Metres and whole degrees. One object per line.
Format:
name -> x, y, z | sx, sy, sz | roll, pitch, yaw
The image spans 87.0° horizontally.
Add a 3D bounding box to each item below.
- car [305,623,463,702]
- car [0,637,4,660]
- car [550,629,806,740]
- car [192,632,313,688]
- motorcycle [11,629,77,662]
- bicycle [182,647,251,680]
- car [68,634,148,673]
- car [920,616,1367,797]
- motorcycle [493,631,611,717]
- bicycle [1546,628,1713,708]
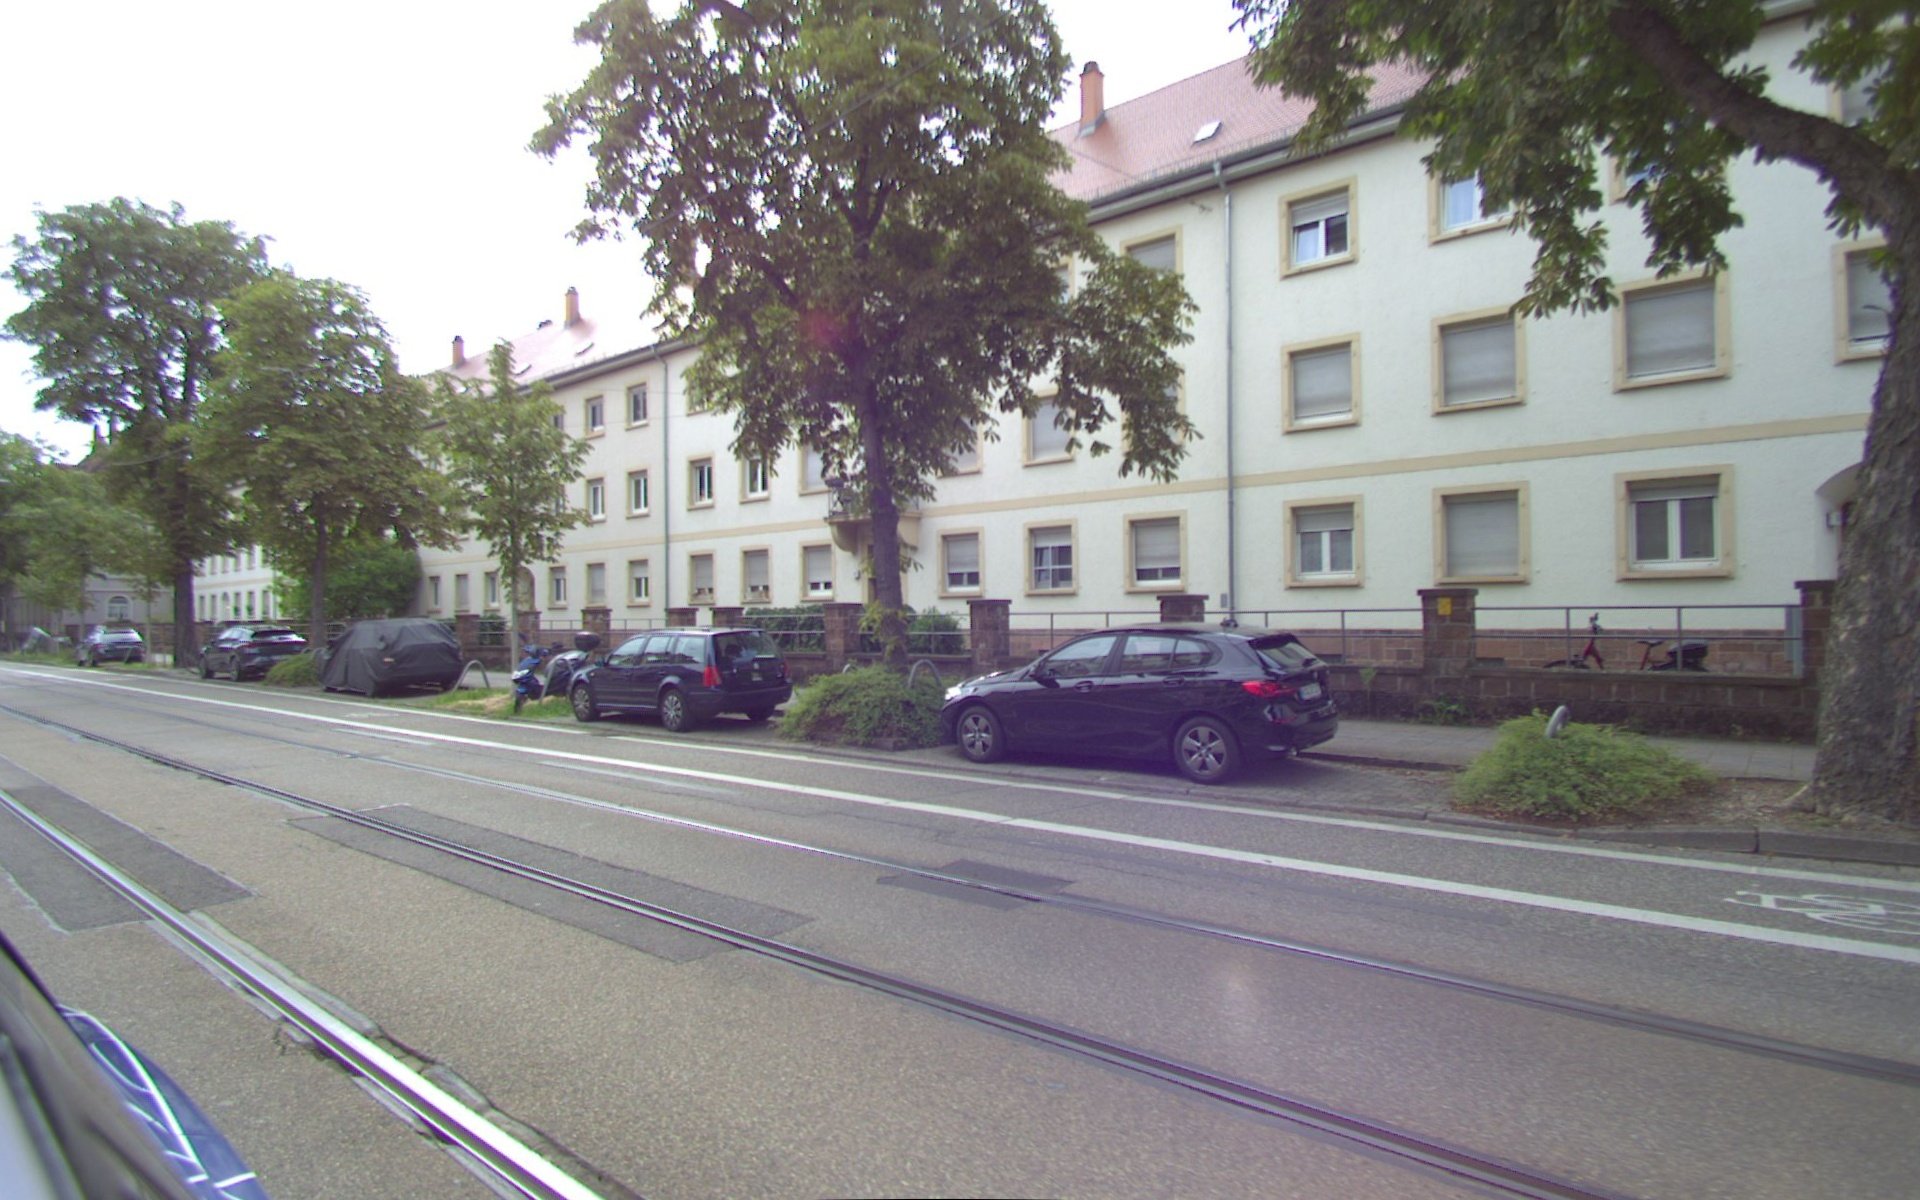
car -> -13.191, 1.359, 23.083 | 4.296, 1.624, 1.767 | -2, -2, 40
car -> -63.554, 3.139, 65.603 | 4.294, 1.481, 1.711 | -2, -2, 38
car -> -4.460, 1.205, 15.675 | 4.296, 1.434, 1.679 | -2, 0, 40
car -> -20.319, 1.673, 28.997 | 4.294, 1.481, 1.680 | -2, -2, 38
motorcycle -> -46.725, 2.294, 51.651 | 2.278, 1.400, 0.840 | -5, 3, -18
bicycle -> -23.628, 1.994, 32.179 | 0.671, 0.978, 1.654 | -2, -2, 31
car -> -34.898, 2.146, 41.414 | 4.294, 1.481, 1.680 | -1, -1, 38
car -> 1.754, 0.962, 10.576 | 4.296, 1.434, 1.680 | -2, 1, 40
motorcycle -> -7.309, 1.301, 18.200 | 0.591, 1.269, 1.850 | -2, 4, 36
bicycle -> 7.718, 0.761, 11.702 | 1.549, 0.869, 0.503 | -2, -2, 41
